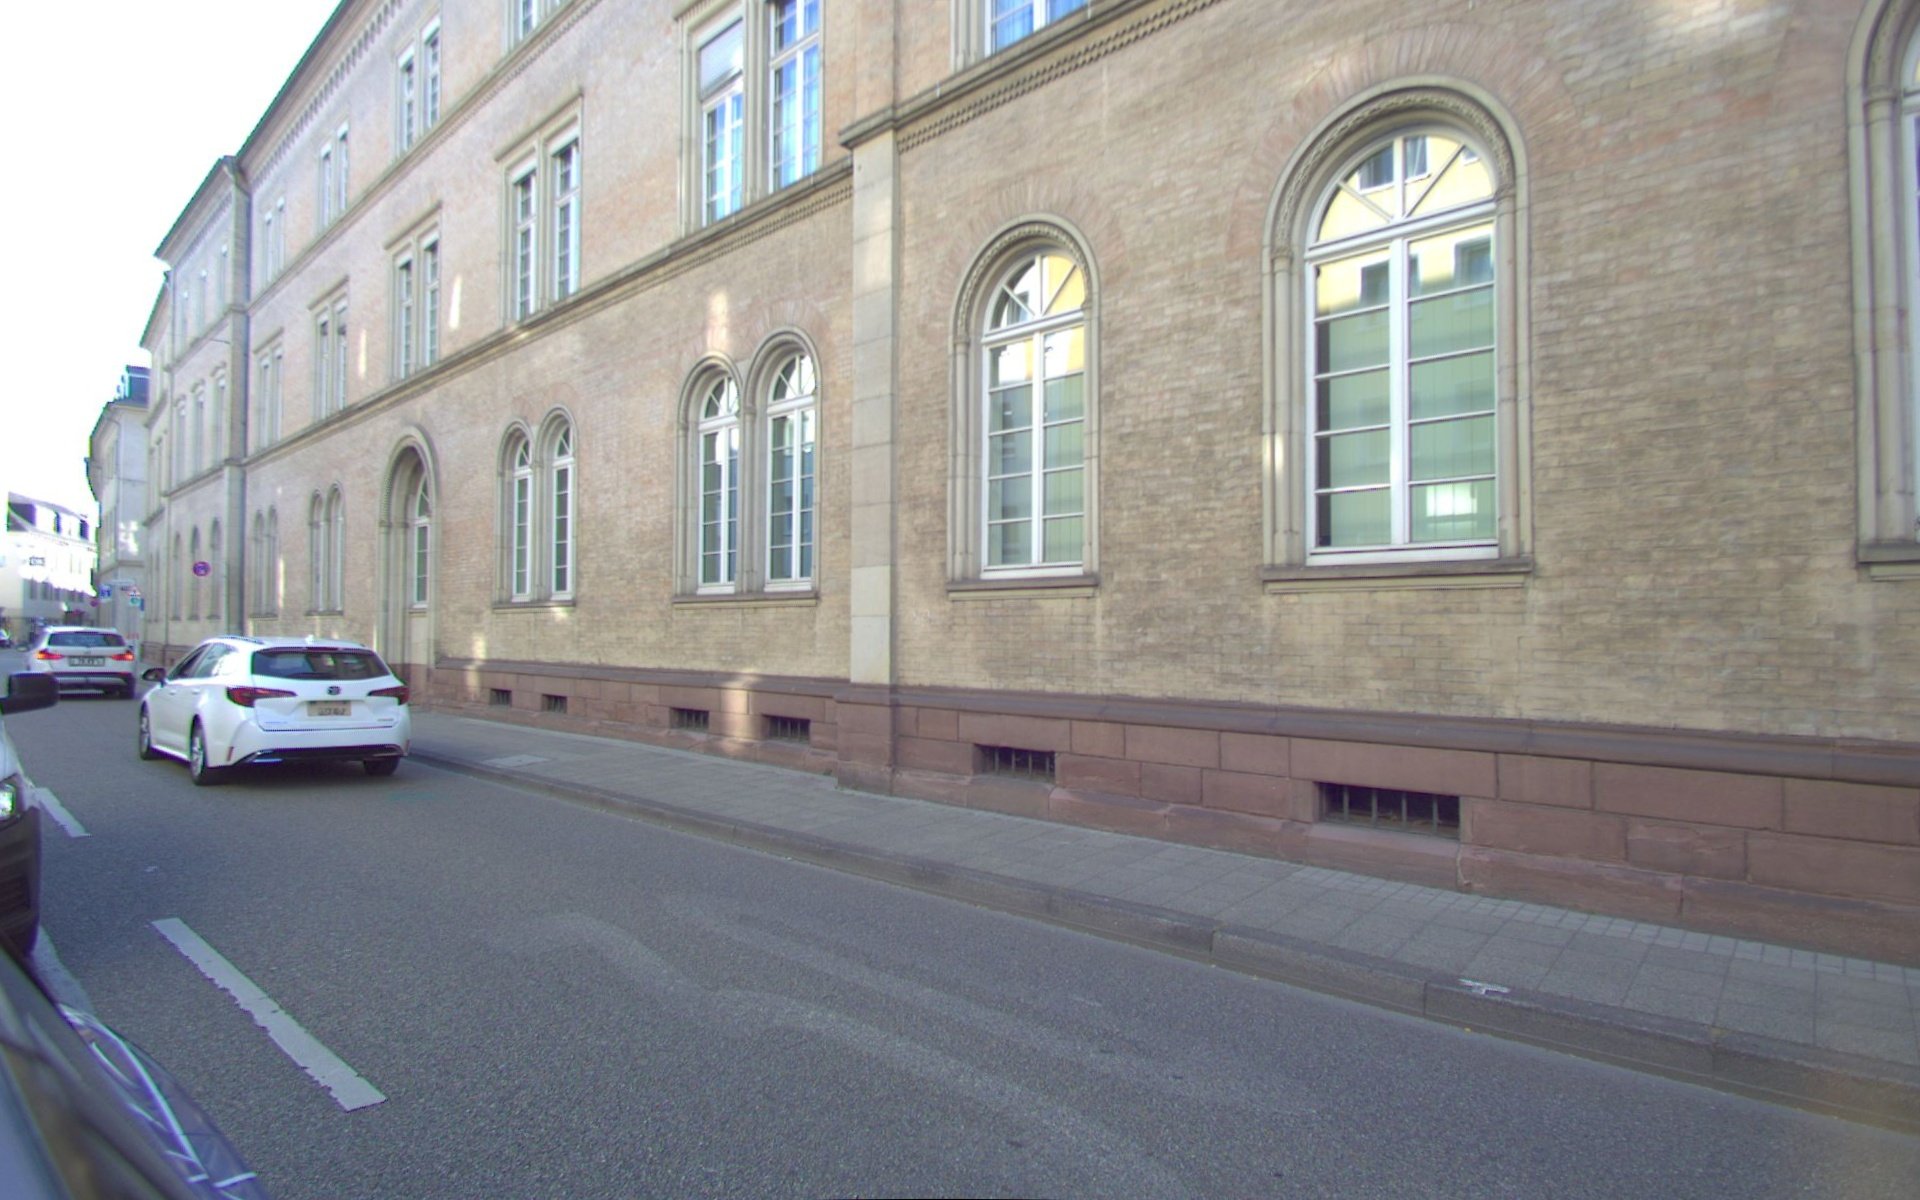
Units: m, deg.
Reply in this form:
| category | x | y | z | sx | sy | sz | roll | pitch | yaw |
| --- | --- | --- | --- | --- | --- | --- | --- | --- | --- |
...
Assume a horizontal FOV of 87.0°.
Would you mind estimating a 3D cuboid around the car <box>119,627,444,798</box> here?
| category | x | y | z | sx | sy | sz | roll | pitch | yaw |
| --- | --- | --- | --- | --- | --- | --- | --- | --- | --- |
| car | -7.568 | 1.078 | 11.090 | 4.544 | 1.487 | 1.866 | -1 | -4 | 42 |

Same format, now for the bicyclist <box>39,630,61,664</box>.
| category | x | y | z | sx | sy | sz | roll | pitch | yaw |
| --- | --- | --- | --- | --- | --- | --- | --- | --- | --- |
| bicyclist | -43.007 | 2.208 | 47.839 | 0.642 | 1.579 | 0.962 | 5 | -5 | -43 |

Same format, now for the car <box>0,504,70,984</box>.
| category | x | y | z | sx | sy | sz | roll | pitch | yaw |
| --- | --- | --- | --- | --- | --- | --- | --- | --- | --- |
| car | -6.172 | 0.598 | 5.130 | 5.338 | 1.850 | 1.795 | -2 | -3 | 41 |

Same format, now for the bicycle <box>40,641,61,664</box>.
| category | x | y | z | sx | sy | sz | roll | pitch | yaw |
| --- | --- | --- | --- | --- | --- | --- | --- | --- | --- |
| bicycle | -43.013 | 2.474 | 47.834 | 0.642 | 1.014 | 1.808 | 5 | -5 | -43 |

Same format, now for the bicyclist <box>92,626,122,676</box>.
| category | x | y | z | sx | sy | sz | roll | pitch | yaw |
| --- | --- | --- | --- | --- | --- | --- | --- | --- | --- |
| bicyclist | -25.383 | 1.511 | 30.115 | 0.579 | 1.454 | 0.596 | -2 | -3 | 45 |

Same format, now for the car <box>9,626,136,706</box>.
| category | x | y | z | sx | sy | sz | roll | pitch | yaw |
| --- | --- | --- | --- | --- | --- | --- | --- | --- | --- |
| car | -19.587 | 1.419 | 22.273 | 4.275 | 1.595 | 1.666 | -2 | -5 | 44 |
